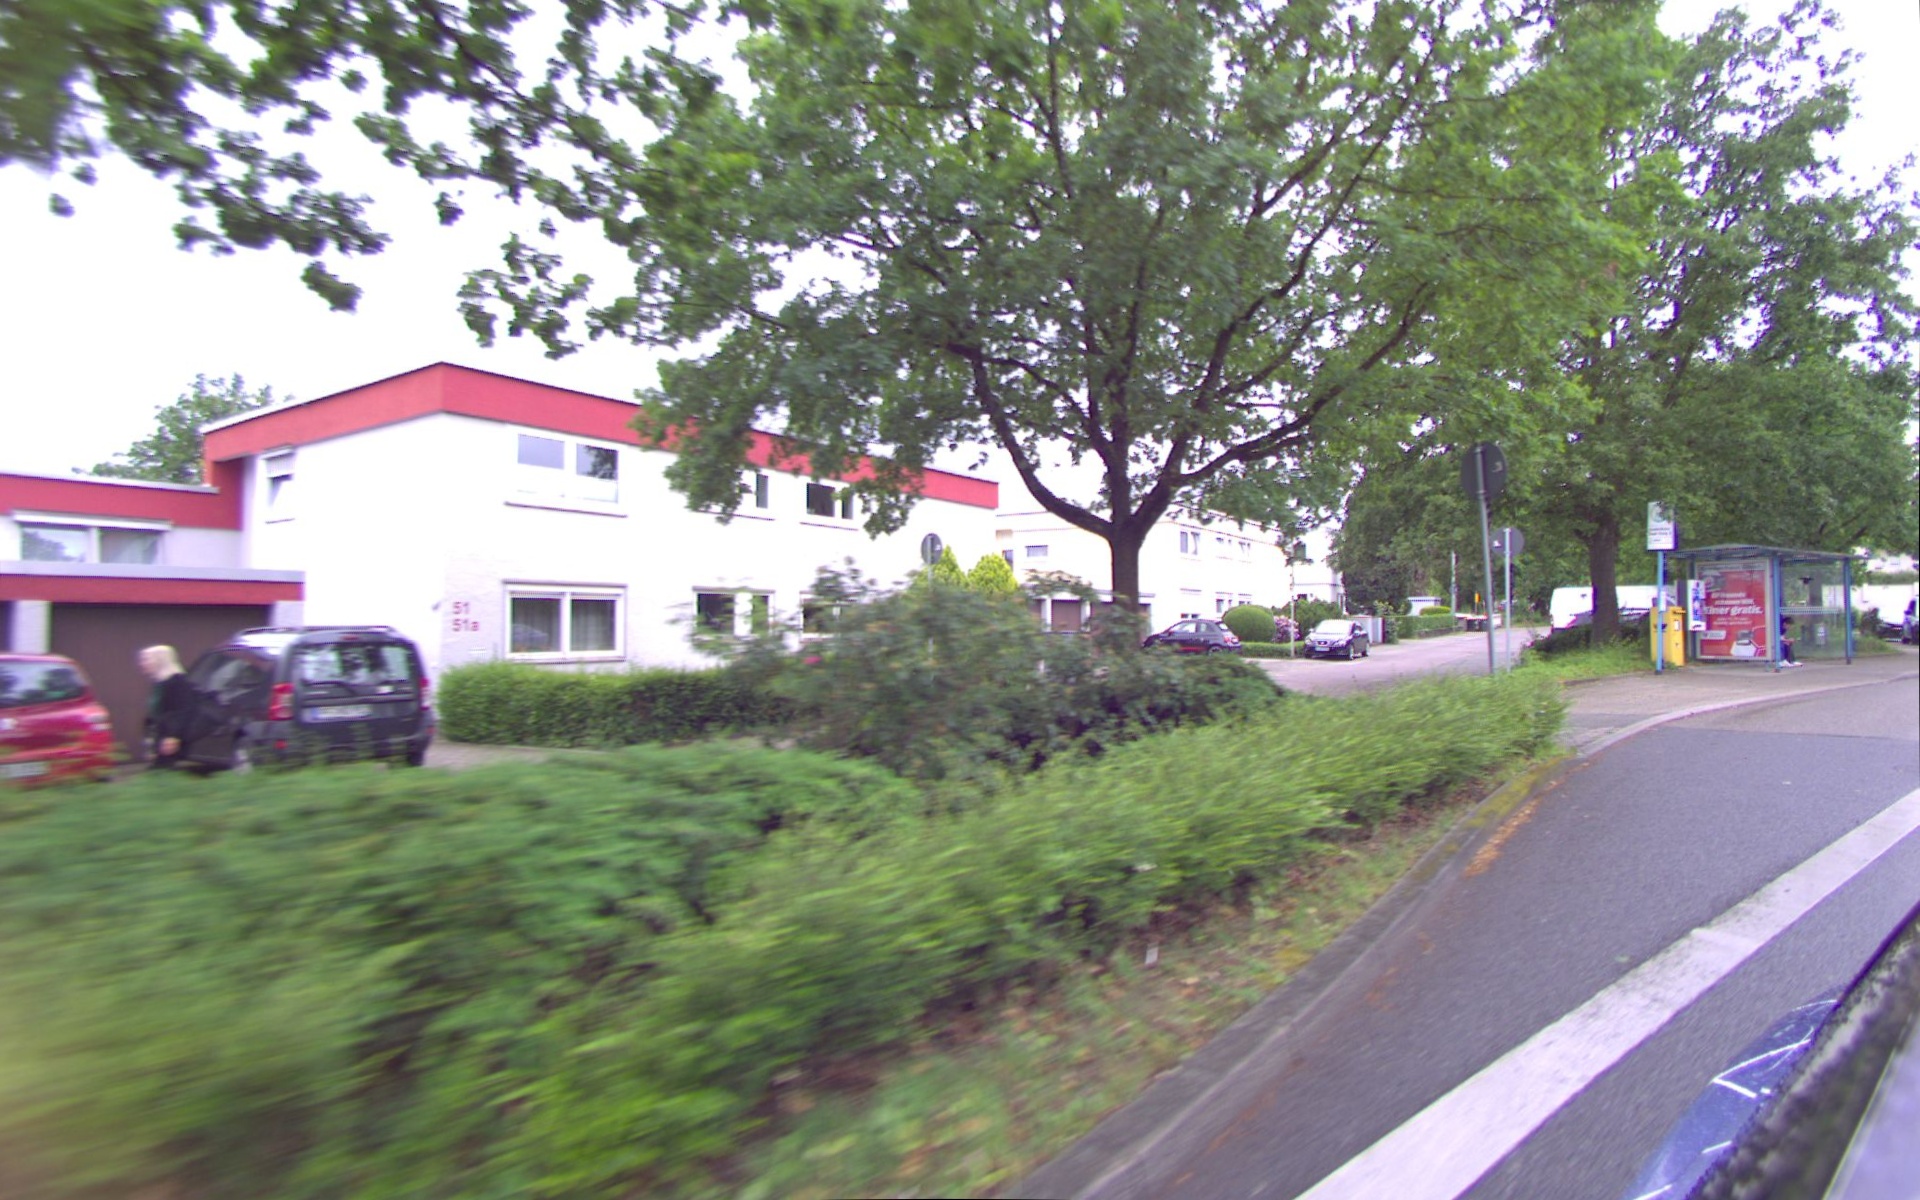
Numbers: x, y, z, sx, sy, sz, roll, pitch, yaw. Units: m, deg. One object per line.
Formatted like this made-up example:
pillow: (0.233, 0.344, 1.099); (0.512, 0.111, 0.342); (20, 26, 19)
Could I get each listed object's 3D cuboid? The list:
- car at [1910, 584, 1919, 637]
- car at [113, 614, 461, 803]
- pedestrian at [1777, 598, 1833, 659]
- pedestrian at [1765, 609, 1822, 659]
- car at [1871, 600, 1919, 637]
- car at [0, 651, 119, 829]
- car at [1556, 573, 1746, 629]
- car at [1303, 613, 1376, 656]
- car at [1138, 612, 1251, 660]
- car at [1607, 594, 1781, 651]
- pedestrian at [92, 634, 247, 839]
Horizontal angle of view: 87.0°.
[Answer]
car: (35.503, 0.352, 36.051); (1.989, 1.905, 4.153); (-2, -1, 39)
car: (-7.615, 1.079, 11.366); (3.971, 1.743, 1.901); (-2, -1, 34)
pedestrian: (18.096, 0.608, 21.682); (0.540, 1.266, 0.729); (0, -2, -29)
pedestrian: (17.579, 0.715, 21.355); (0.540, 1.025, 0.752); (0, -2, -29)
car: (38.293, 0.705, 40.766); (1.753, 1.400, 4.136); (-2, -1, 34)
car: (-9.622, 1.246, 9.525); (3.677, 1.460, 1.686); (-2, -1, 34)
car: (26.898, 0.078, 39.693); (1.960, 2.039, 5.843); (0, -1, -31)
car: (14.618, 1.318, 38.881); (1.682, 1.529, 3.777); (-3, -2, 36)
car: (8.389, 1.243, 36.289); (3.596, 1.552, 1.742); (1, 0, 32)
car: (21.067, 0.660, 29.185); (1.725, 1.505, 3.659); (-1, -1, -31)
pedestrian: (-6.580, 1.089, 8.442); (0.660, 1.578, 0.833); (-2, -2, 30)
